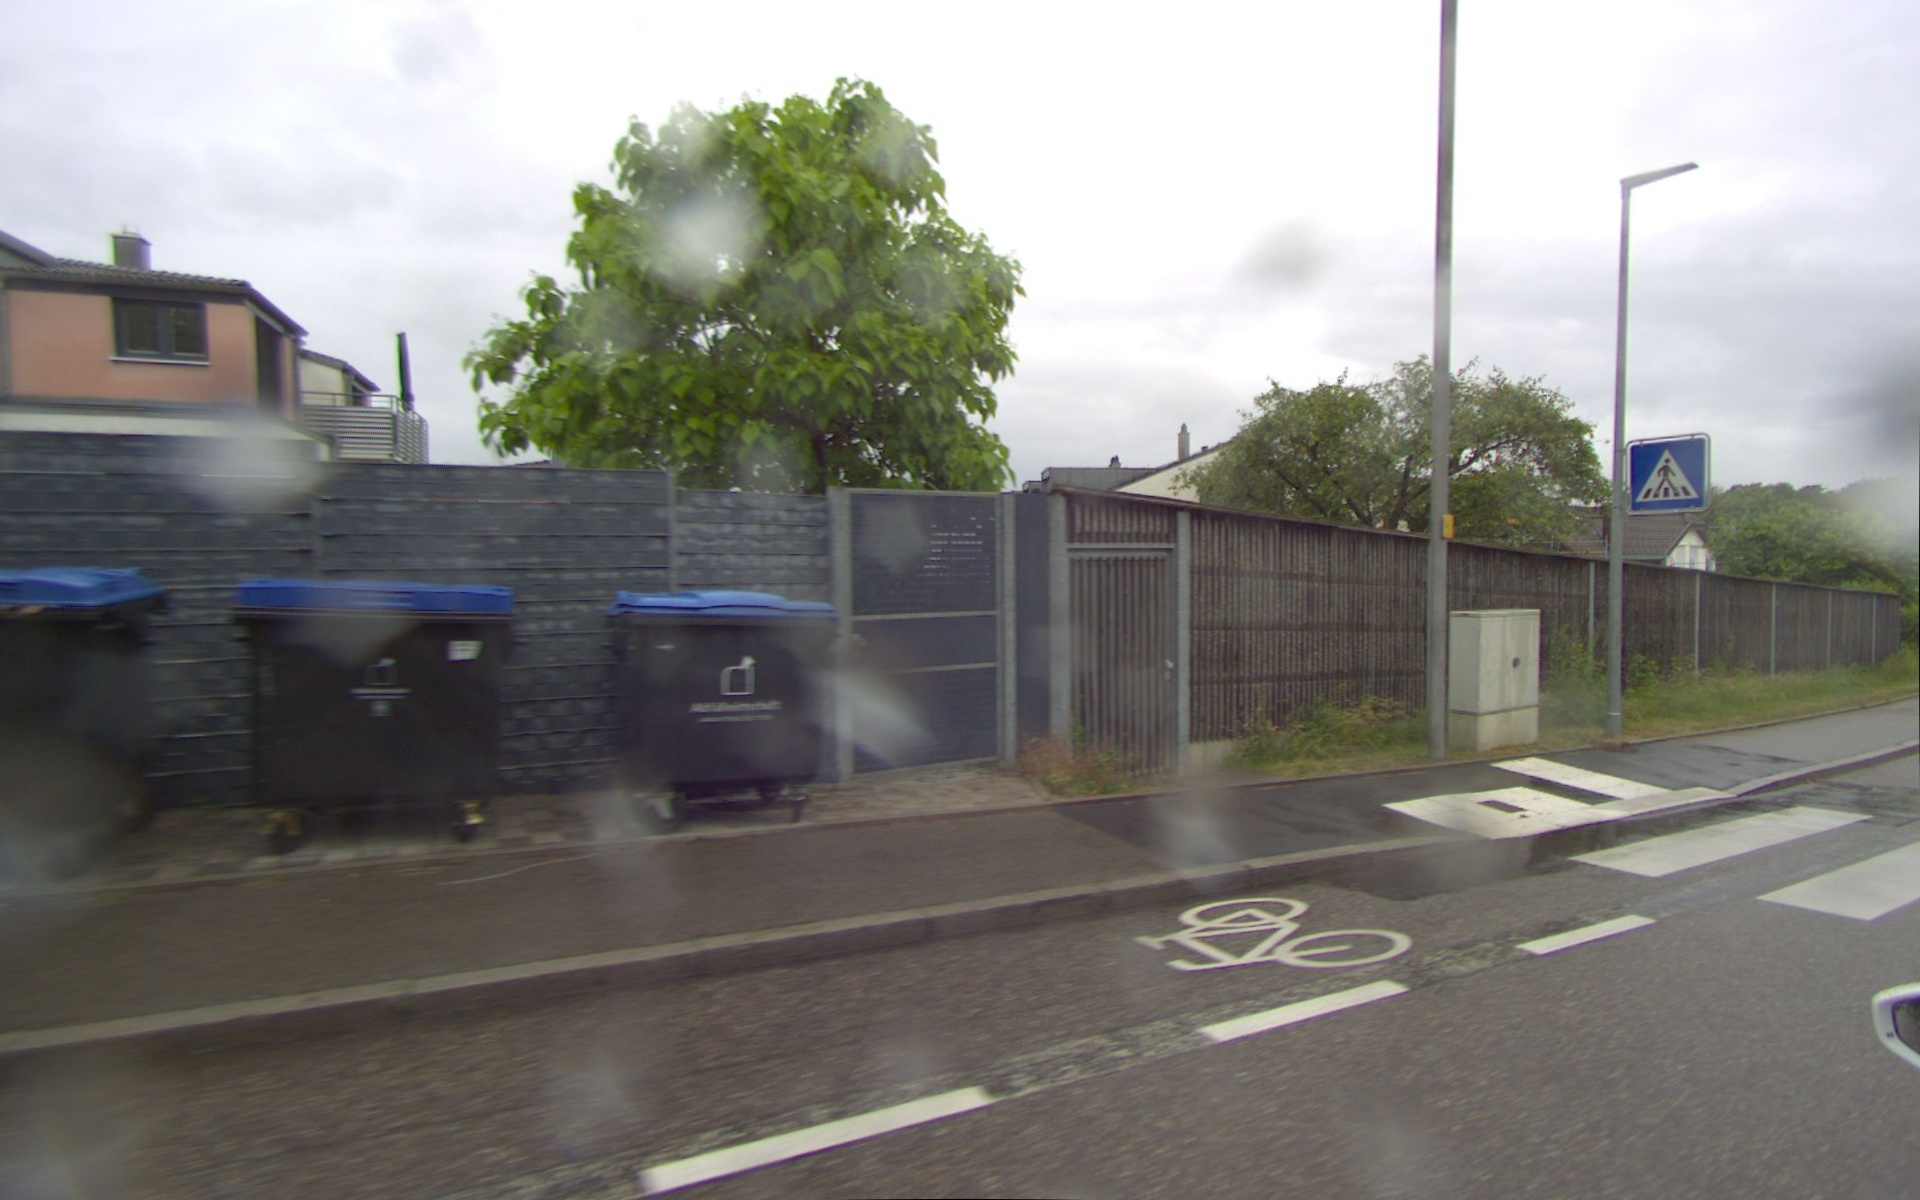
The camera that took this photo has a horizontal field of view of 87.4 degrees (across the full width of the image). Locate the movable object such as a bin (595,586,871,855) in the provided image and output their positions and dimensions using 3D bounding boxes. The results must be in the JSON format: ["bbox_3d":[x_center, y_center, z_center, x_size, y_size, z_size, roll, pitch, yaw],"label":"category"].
[{"bbox_3d":[-1.396,0.633,6.046,1.345,1.340,1.126,1,5,-28],"label":"movable object such as a bin"}]

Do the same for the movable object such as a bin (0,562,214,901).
[{"bbox_3d":[-4.341,0.530,4.544,1.381,1.357,1.126,1,4,-28],"label":"movable object such as a bin"}]

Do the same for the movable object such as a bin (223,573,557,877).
[{"bbox_3d":[-2.948,0.559,5.323,1.381,1.319,1.126,1,4,-28],"label":"movable object such as a bin"}]
